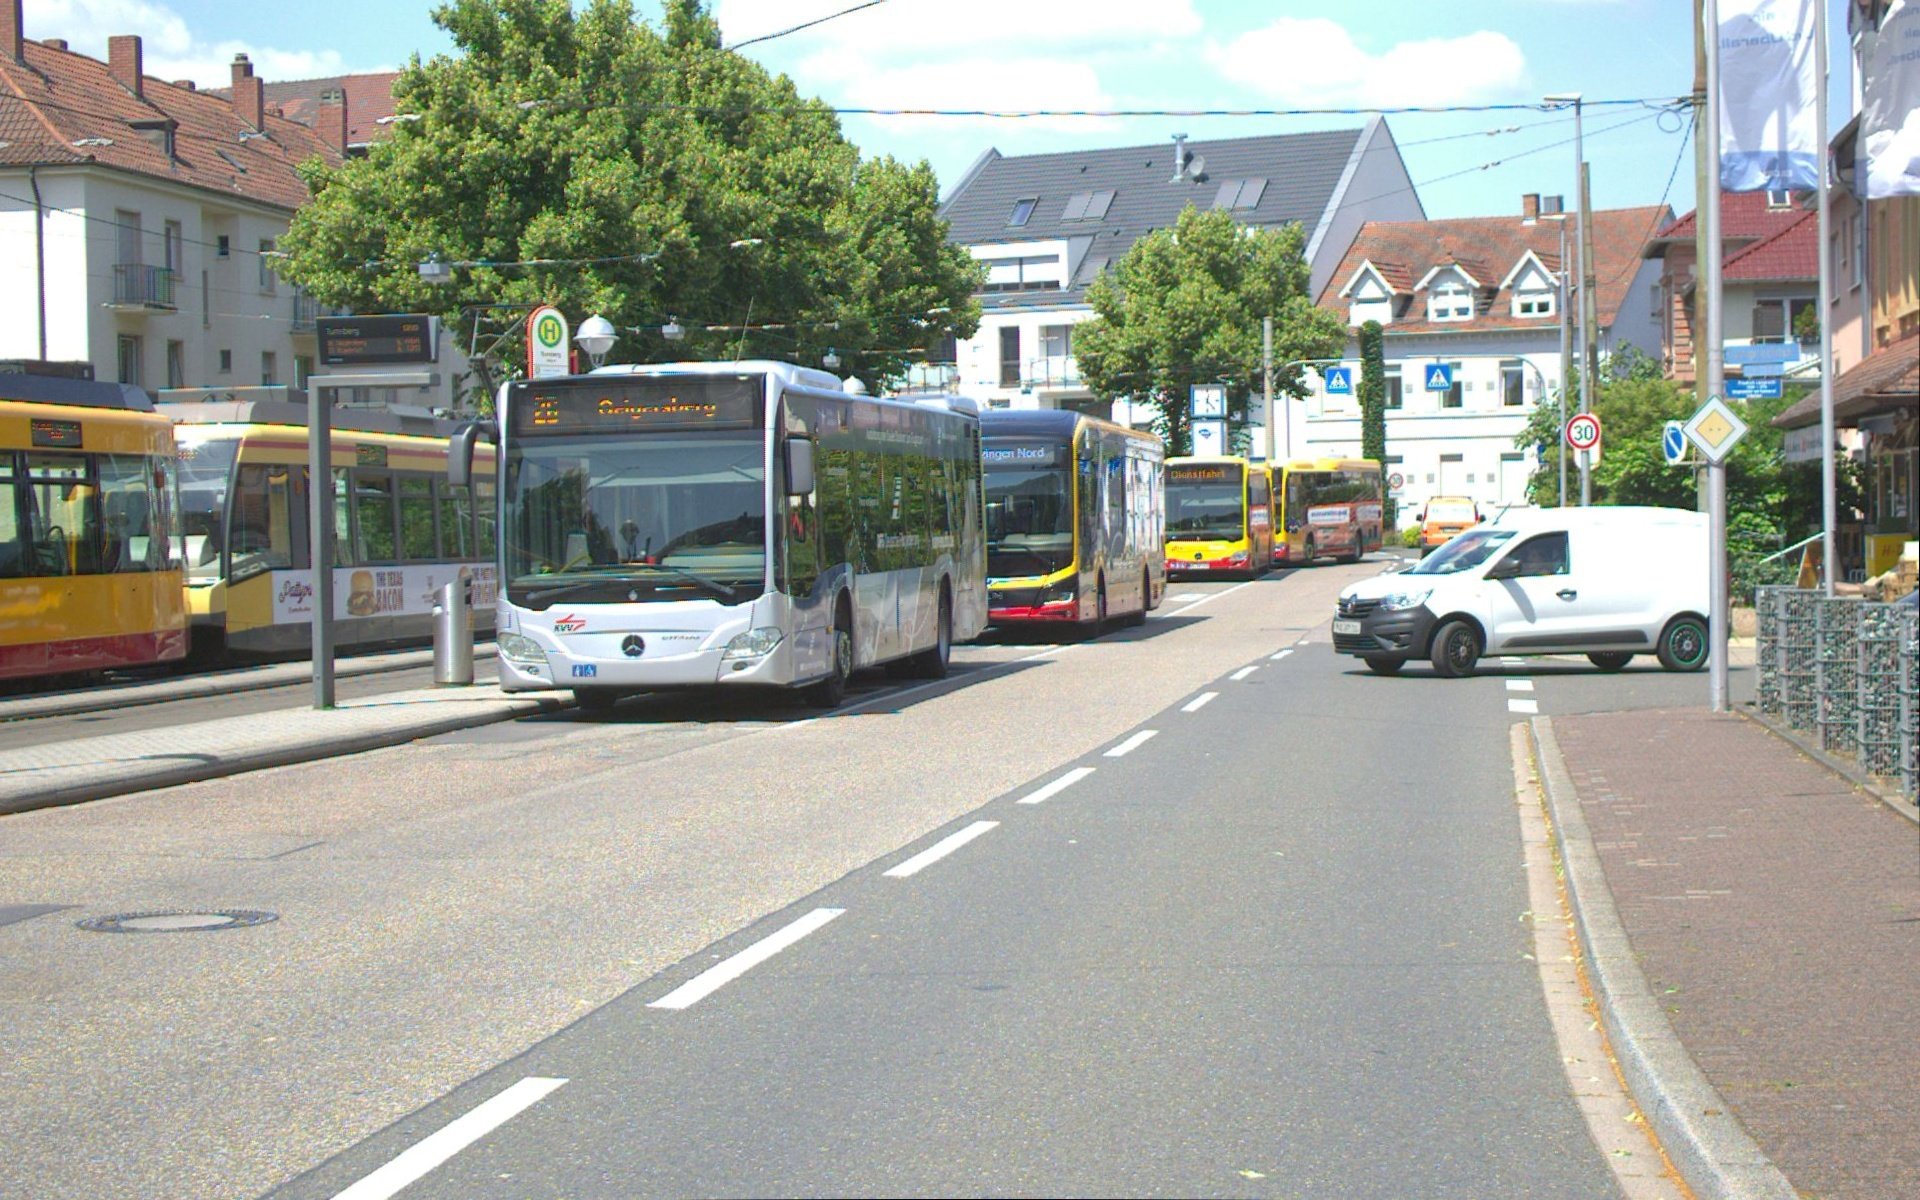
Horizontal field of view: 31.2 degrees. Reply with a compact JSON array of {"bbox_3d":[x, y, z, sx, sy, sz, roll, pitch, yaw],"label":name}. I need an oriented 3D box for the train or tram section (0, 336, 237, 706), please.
[{"bbox_3d":[-10.776,-0.730,32.115,2.786,3.556,14.700,0,1,9],"label":"train or tram section"}]

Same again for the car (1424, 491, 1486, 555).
[{"bbox_3d":[15.782,-2.451,109.691,1.808,1.974,3.999,0,1,6],"label":"car"}]

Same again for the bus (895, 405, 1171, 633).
[{"bbox_3d":[1.370,-1.226,53.368,2.731,3.118,12.004,0,1,9],"label":"bus"}]

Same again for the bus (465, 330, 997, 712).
[{"bbox_3d":[-1.838,-0.749,34.261,2.731,3.118,12.004,0,1,9],"label":"bus"}]

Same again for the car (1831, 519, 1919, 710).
[{"bbox_3d":[9.398,0.070,28.301,3.929,1.513,1.823,-1,1,-3],"label":"car"}]

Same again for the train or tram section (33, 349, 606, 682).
[{"bbox_3d":[-8.307,-1.124,47.959,2.786,3.882,15.546,0,1,9],"label":"train or tram section"}]

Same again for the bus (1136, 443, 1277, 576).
[{"bbox_3d":[6.472,-2.299,88.812,2.731,3.207,11.045,0,1,9],"label":"bus"}]

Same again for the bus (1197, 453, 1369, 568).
[{"bbox_3d":[9.657,-2.612,101.531,2.636,3.207,9.931,0,1,20],"label":"bus"}]

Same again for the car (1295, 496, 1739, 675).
[{"bbox_3d":[6.025,-0.197,37.311,4.303,1.803,2.001,-1,3,-19],"label":"car"}]
